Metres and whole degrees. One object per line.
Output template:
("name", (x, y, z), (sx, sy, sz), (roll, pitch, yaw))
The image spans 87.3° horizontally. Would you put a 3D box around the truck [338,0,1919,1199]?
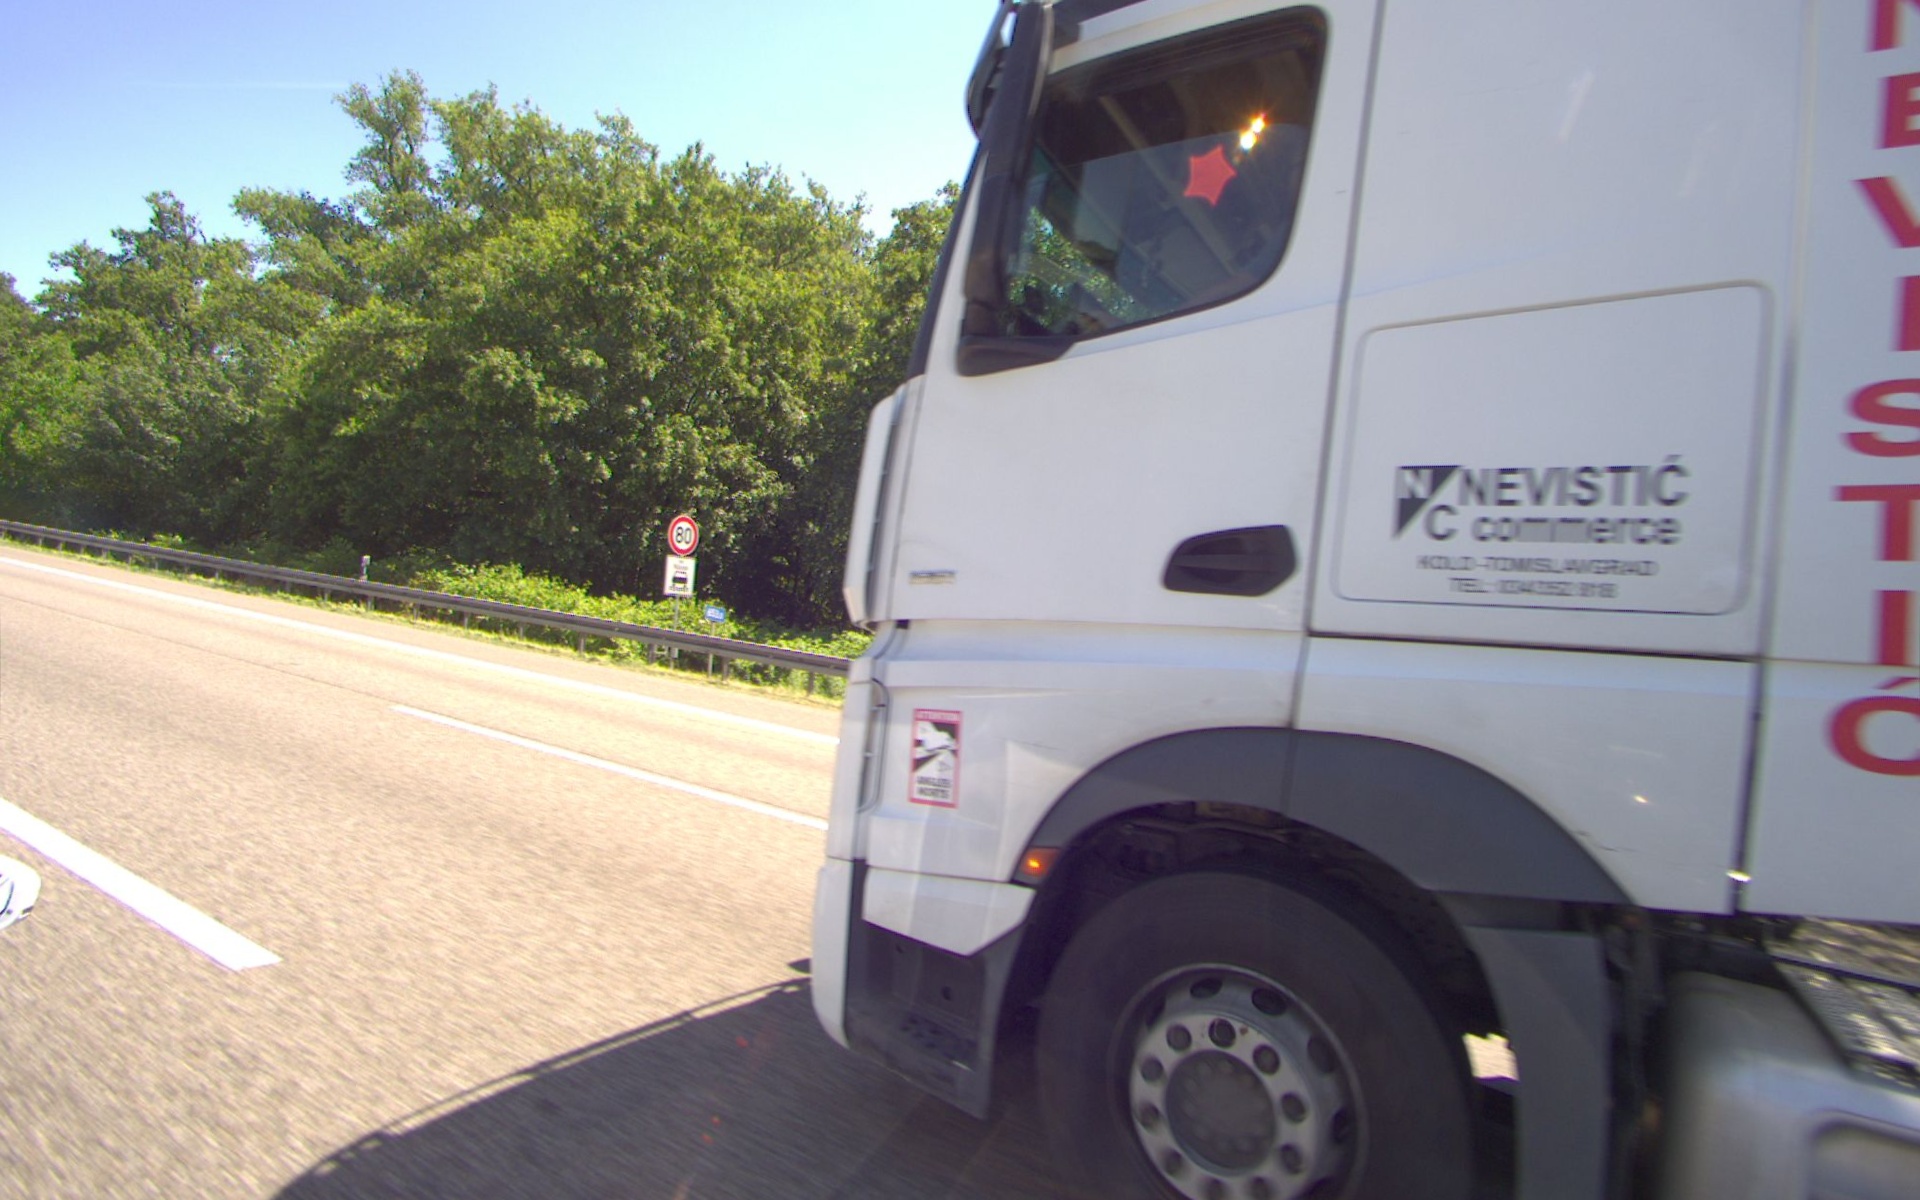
("truck", (1.253, -0.564, 3.339), (6.346, 4.142, 2.705), (6, -1, 31))
